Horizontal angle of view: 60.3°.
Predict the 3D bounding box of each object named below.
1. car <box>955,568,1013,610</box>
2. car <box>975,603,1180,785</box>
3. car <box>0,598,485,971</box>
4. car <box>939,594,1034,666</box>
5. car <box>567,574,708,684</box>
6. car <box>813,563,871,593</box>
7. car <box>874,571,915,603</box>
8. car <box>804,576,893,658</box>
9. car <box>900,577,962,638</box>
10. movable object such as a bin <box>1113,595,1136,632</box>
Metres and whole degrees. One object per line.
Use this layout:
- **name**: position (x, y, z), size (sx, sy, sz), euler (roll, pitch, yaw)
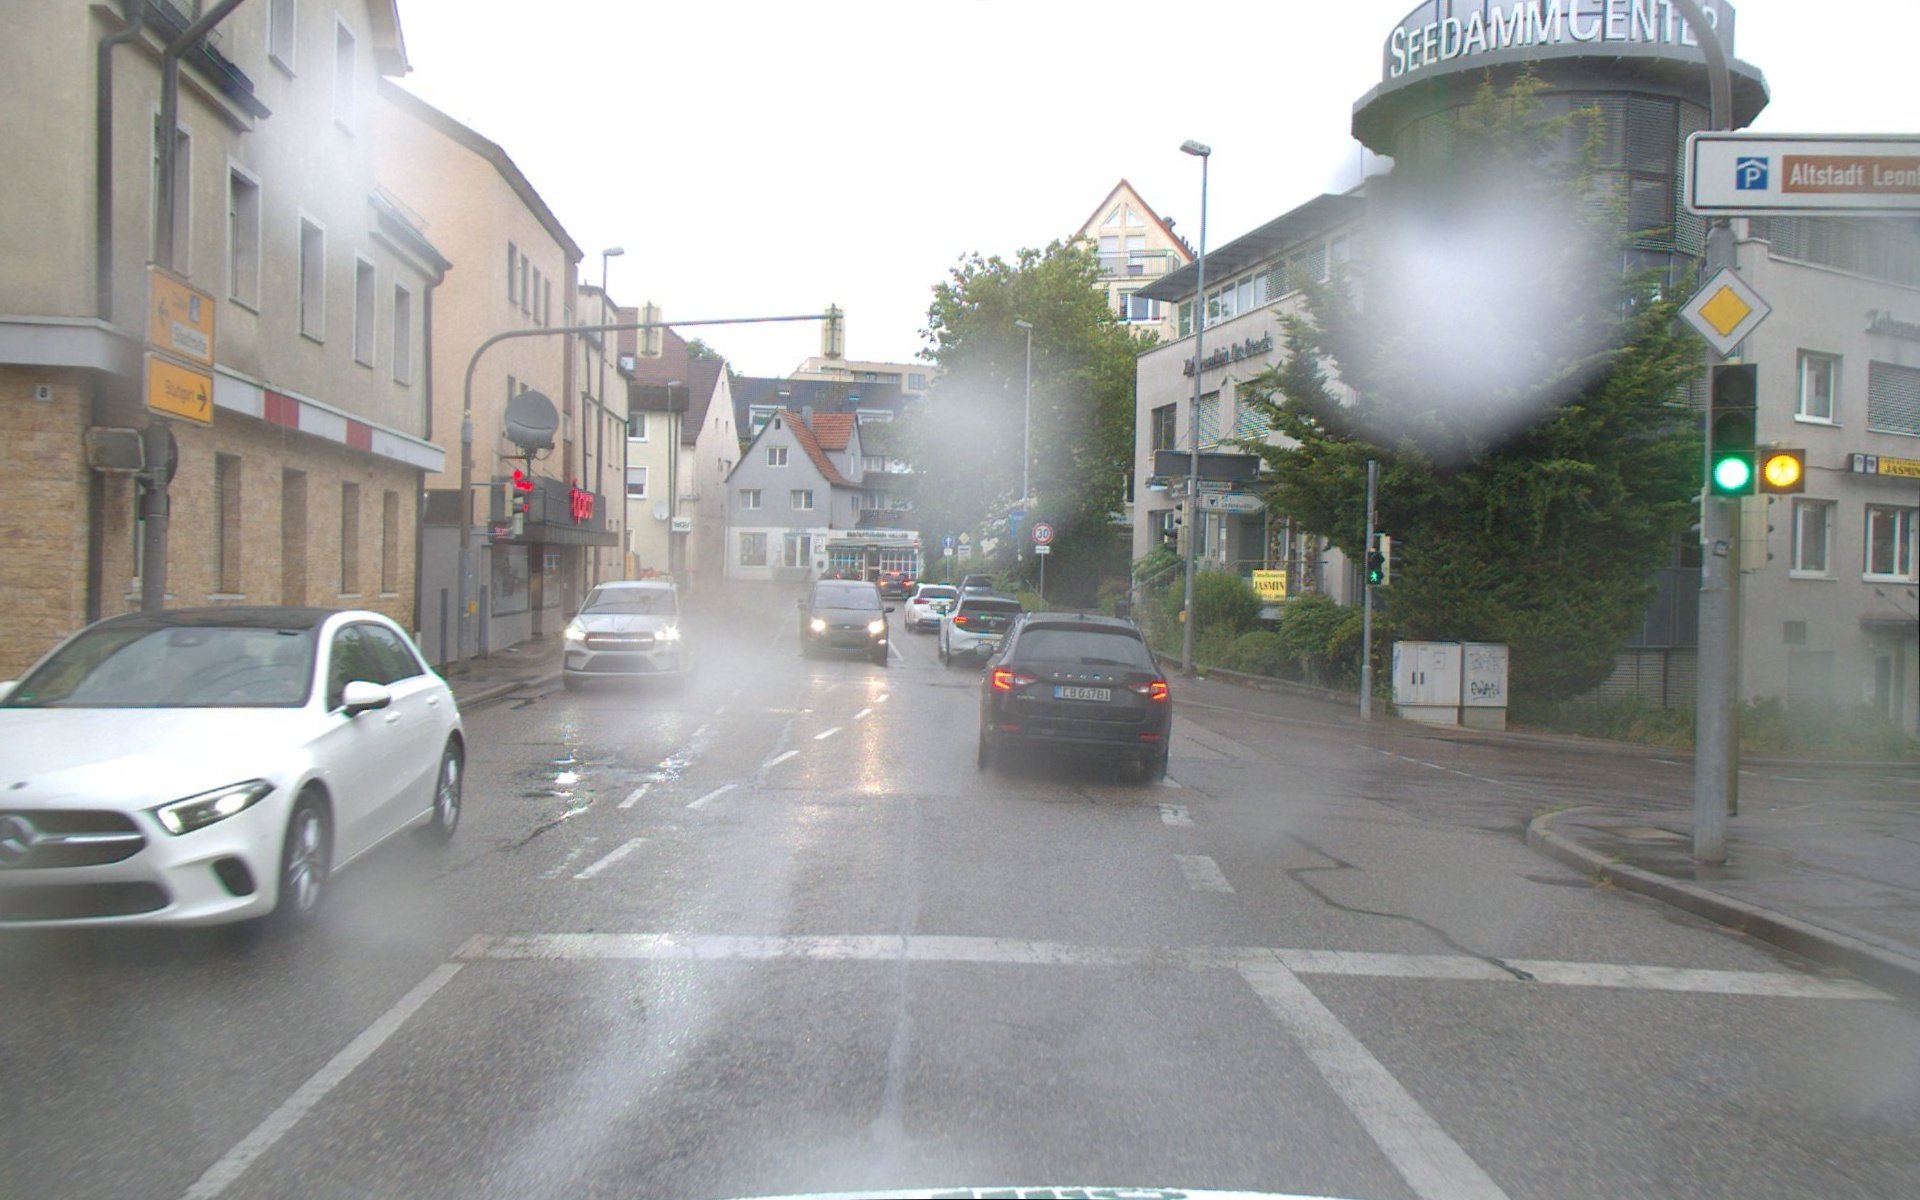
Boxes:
- **car**: position (0.951, -0.454, 67.444), size (1.817, 1.670, 3.865), euler (0, 1, -7)
- **car**: position (1.230, 0.824, 16.576), size (1.744, 1.509, 4.249), euler (2, 0, 6)
- **car**: position (-3.727, 0.715, 8.503), size (1.657, 1.397, 4.110), euler (0, 1, -4)
- **car**: position (0.509, 0.588, 35.016), size (1.781, 1.383, 3.988), euler (2, 0, -2)
- **car**: position (-5.053, 0.394, 26.409), size (1.750, 1.587, 4.332), euler (1, 1, -5)
- **car**: position (-7.050, -1.282, 98.233), size (1.876, 1.711, 3.644), euler (1, 0, -34)
- **car**: position (-3.382, -0.649, 84.651), size (1.856, 1.618, 3.684), euler (1, 0, -6)
- **car**: position (-2.488, 0.318, 36.073), size (1.750, 1.590, 4.397), euler (2, 1, -5)
- **car**: position (-0.927, 0.273, 50.581), size (1.693, 1.618, 4.181), euler (3, -2, -3)
- **movable object such as a bin**: position (4.616, 0.378, 46.272), size (0.501, 0.961, 0.603), euler (5, 5, 13)
